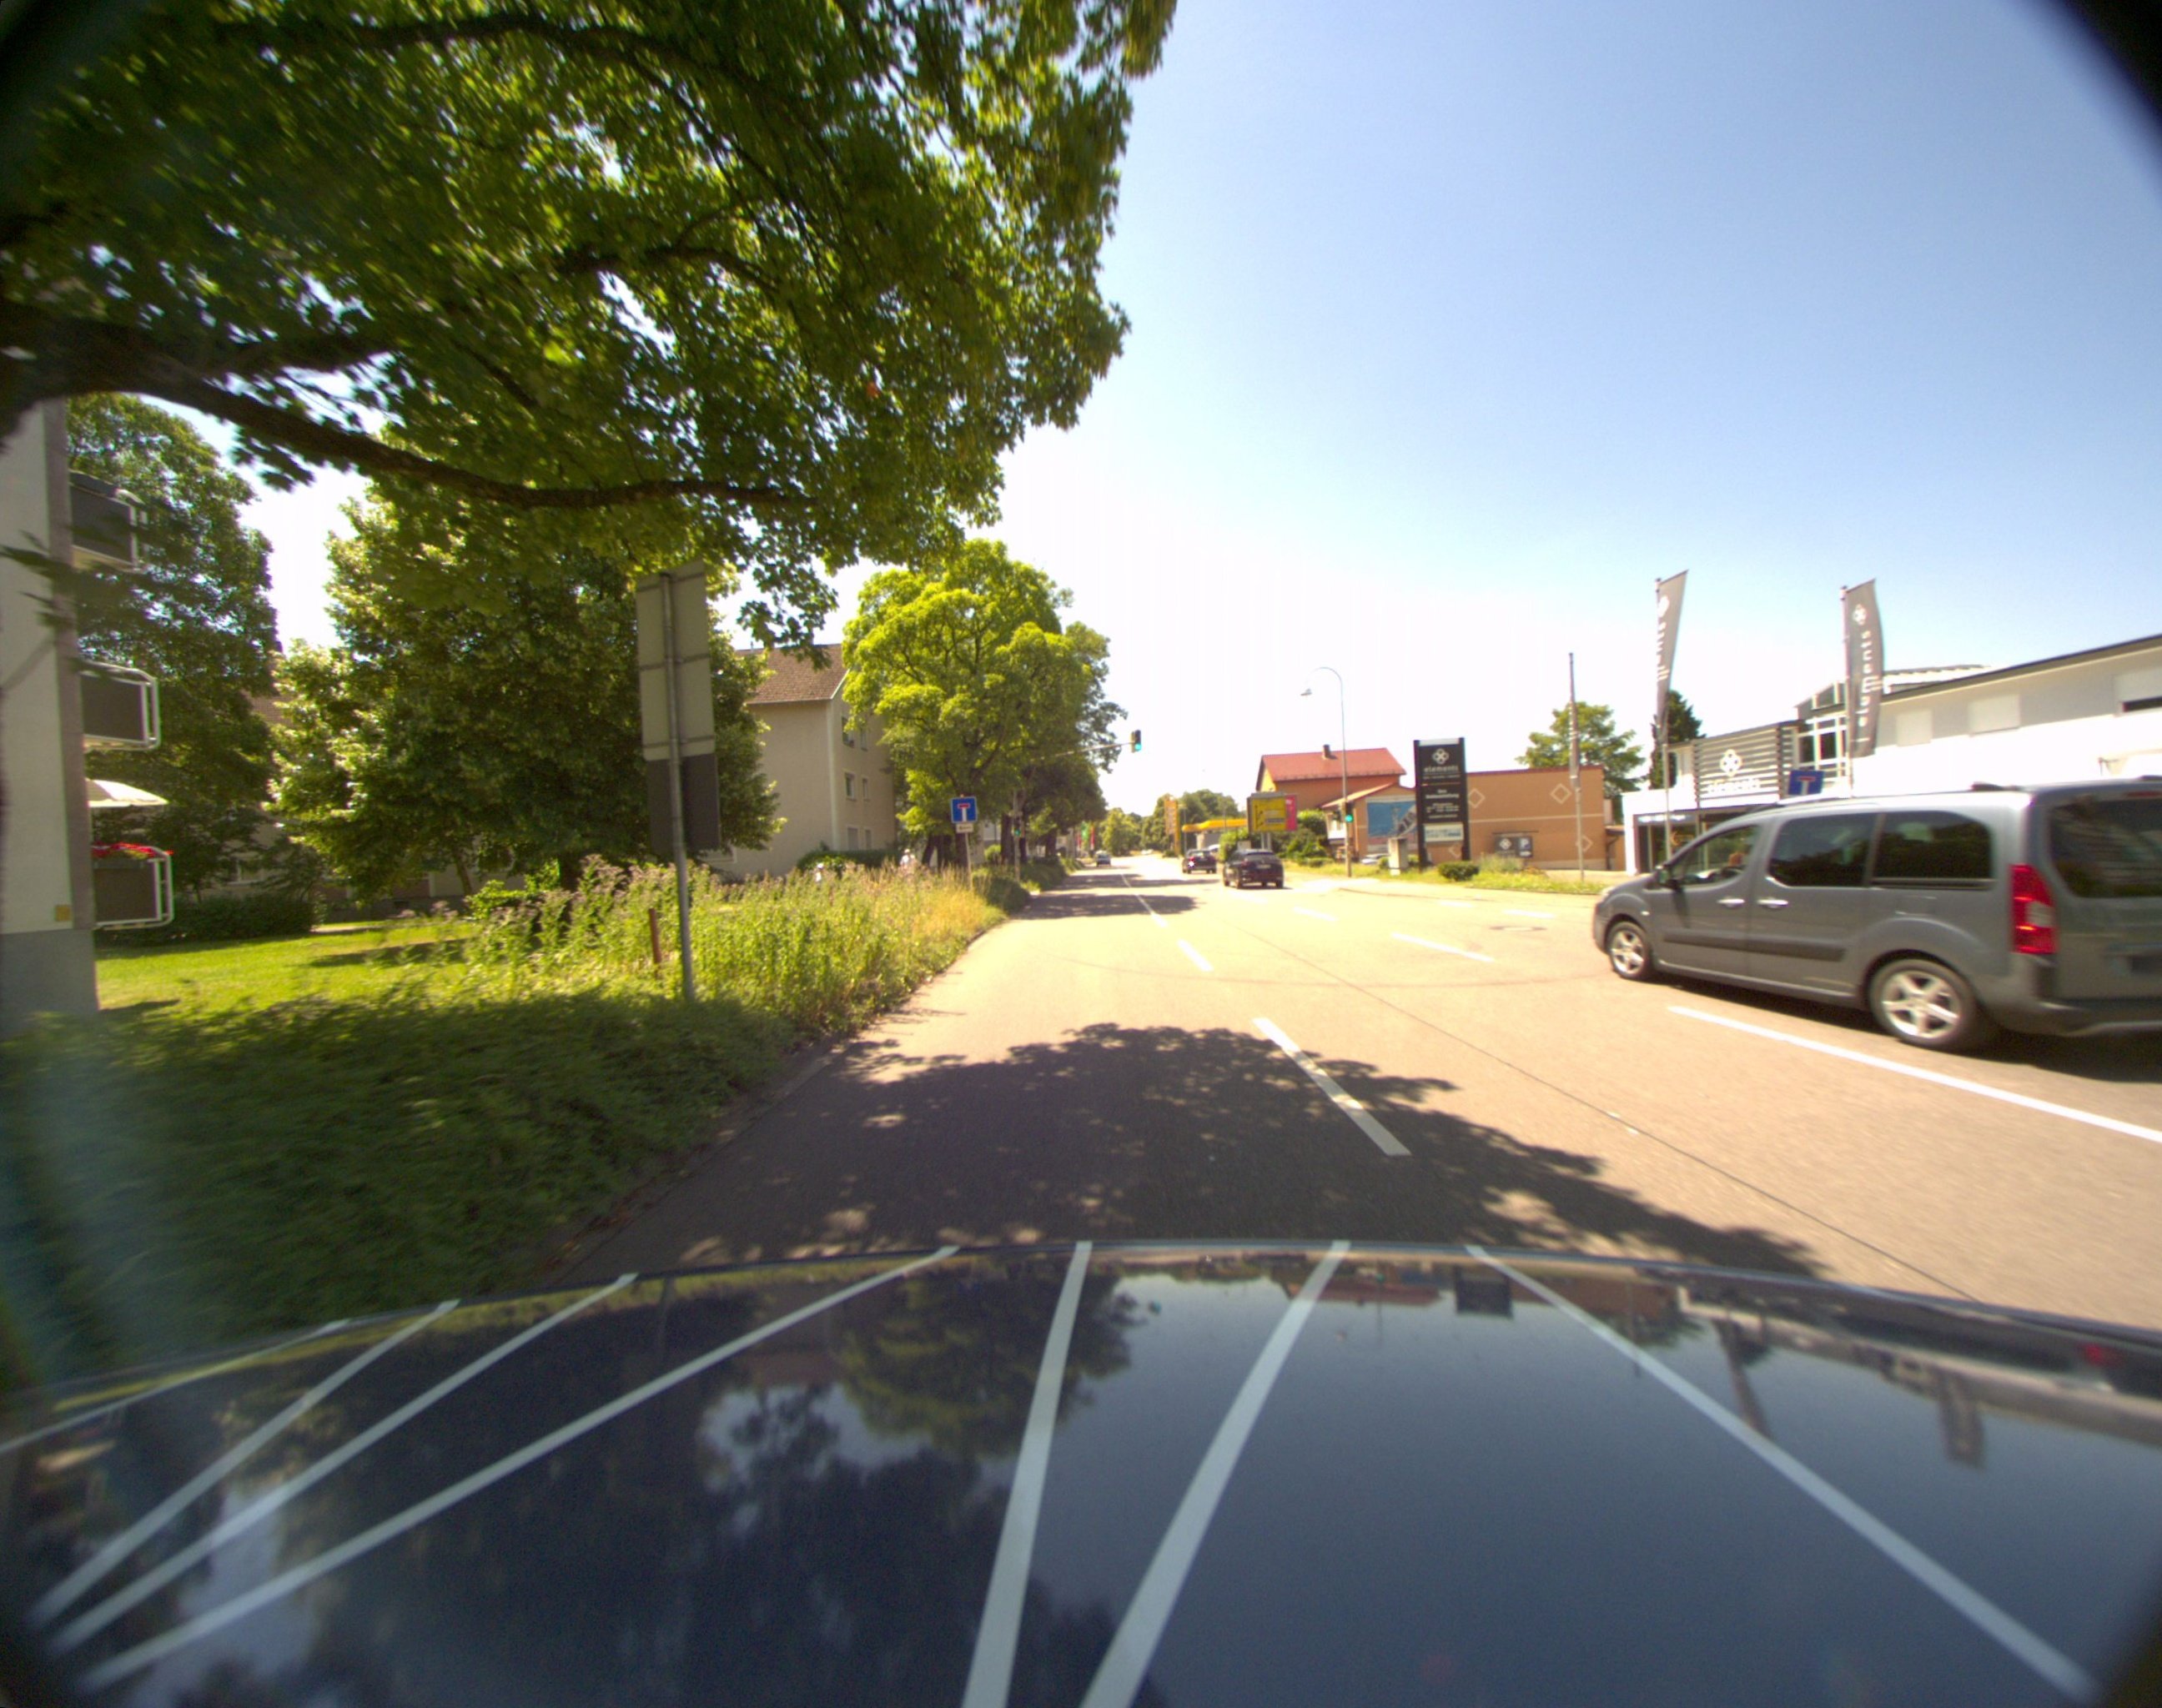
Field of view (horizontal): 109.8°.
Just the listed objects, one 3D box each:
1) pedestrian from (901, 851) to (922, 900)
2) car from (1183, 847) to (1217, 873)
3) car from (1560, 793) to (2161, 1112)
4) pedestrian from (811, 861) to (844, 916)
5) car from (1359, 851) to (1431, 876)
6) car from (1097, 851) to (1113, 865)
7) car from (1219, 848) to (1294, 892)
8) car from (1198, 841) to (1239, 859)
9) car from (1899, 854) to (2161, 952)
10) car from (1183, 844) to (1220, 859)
[{"bbox_3d":[-6.580,0.827,29.451,0.674,1.862,0.901,-2,1,-17],"label":"pedestrian"},{"bbox_3d":[7.637,0.350,49.220,1.930,1.546,4.304,-2,0,6],"label":"car"},{"bbox_3d":[6.386,0.546,6.471,1.815,1.752,4.571,-1,0,2],"label":"car"},{"bbox_3d":[-7.705,1.037,23.125,0.720,1.624,0.851,-2,1,-5],"label":"pedestrian"},{"bbox_3d":[21.441,0.634,52.068,4.223,1.599,1.772,-2,1,10],"label":"car"},{"bbox_3d":[2.821,0.465,88.653,1.771,1.521,4.130,-2,0,2],"label":"car"},{"bbox_3d":[6.647,0.567,29.280,1.874,1.498,4.052,-2,0,-1],"label":"car"},{"bbox_3d":[15.277,-0.446,84.547,4.190,1.858,1.875,-2,1,-3],"label":"car"},{"bbox_3d":[16.459,0.730,11.873,4.965,1.379,1.918,1,1,5],"label":"car"},{"bbox_3d":[15.584,-0.288,98.380,4.401,1.750,1.875,-2,1,-3],"label":"car"}]
